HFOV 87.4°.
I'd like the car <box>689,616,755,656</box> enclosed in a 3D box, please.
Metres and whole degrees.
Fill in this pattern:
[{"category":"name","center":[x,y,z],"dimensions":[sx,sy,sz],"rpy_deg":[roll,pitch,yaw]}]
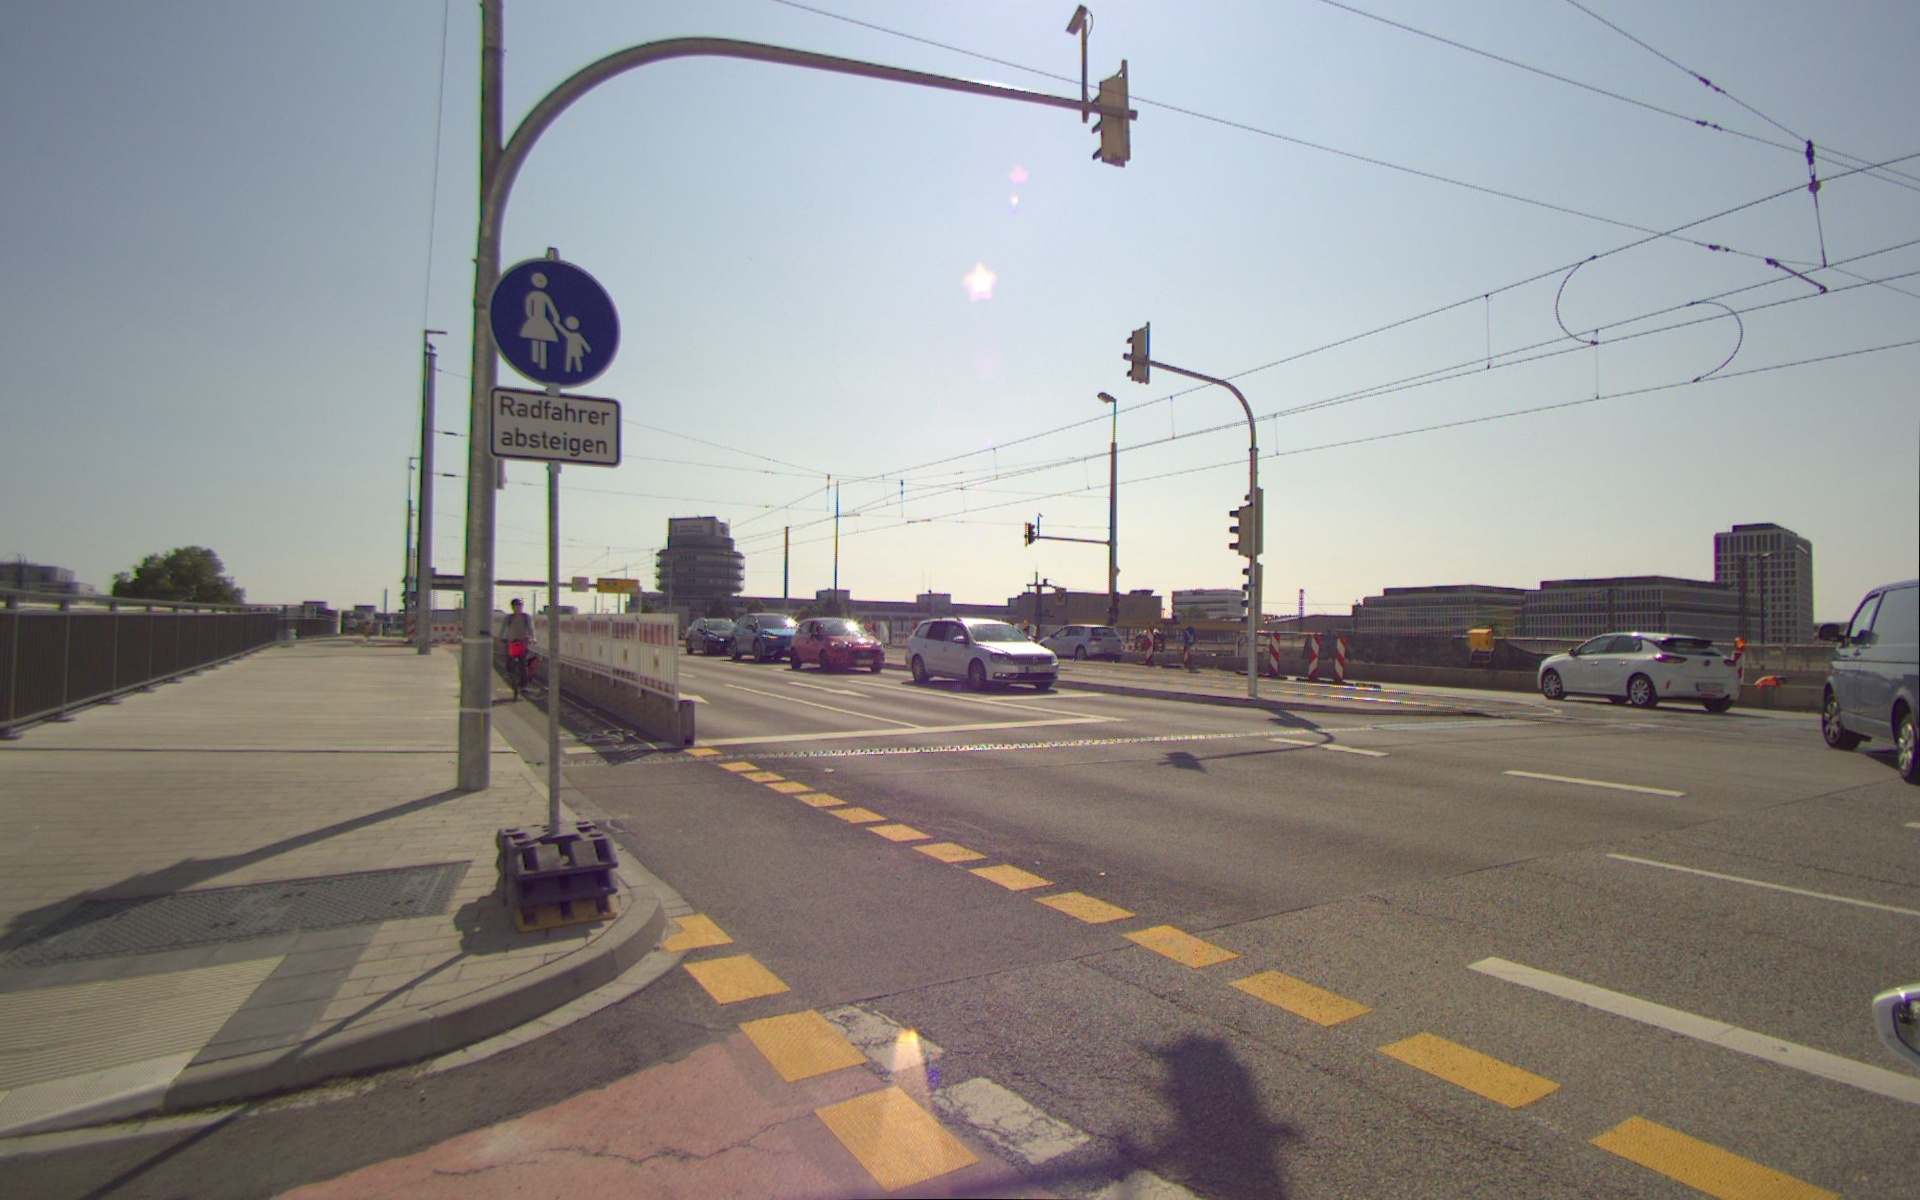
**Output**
[{"category":"car","center":[-9.497,1.395,39.925],"dimensions":[1.492,1.520,4.145],"rpy_deg":[0,-1,-29]}]

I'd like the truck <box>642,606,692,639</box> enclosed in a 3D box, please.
[{"category":"truck","center":[-30.057,2.246,102.637],"dimensions":[2.438,3.176,11.130],"rpy_deg":[2,-2,-29]}]

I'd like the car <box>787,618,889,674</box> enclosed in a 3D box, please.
[{"category":"car","center":[-3.523,1.244,28.422],"dimensions":[1.520,1.456,3.949],"rpy_deg":[1,-1,-29]}]

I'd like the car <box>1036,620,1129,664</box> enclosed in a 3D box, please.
[{"category":"car","center":[4.693,1.597,38.784],"dimensions":[1.703,1.552,3.669],"rpy_deg":[3,-2,-29]}]

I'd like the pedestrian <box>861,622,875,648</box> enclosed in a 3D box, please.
[{"category":"pedestrian","center":[-6.854,2.613,75.114],"dimensions":[0.775,1.960,0.793],"rpy_deg":[0,-2,-29]}]

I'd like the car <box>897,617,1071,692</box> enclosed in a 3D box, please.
[{"category":"car","center":[0.392,1.113,21.868],"dimensions":[1.624,1.456,4.606],"rpy_deg":[1,-1,-30]}]

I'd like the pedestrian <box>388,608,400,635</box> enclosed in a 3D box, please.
[{"category":"pedestrian","center":[-40.015,1.515,71.024],"dimensions":[0.628,1.918,0.746],"rpy_deg":[3,-2,-29]}]

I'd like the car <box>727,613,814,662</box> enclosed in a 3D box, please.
[{"category":"car","center":[-6.617,1.244,34.701],"dimensions":[1.654,1.570,4.522],"rpy_deg":[1,-1,-28]}]

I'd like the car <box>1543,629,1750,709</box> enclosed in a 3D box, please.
[{"category":"car","center":[13.548,1.321,20.074],"dimensions":[1.690,1.423,3.411],"rpy_deg":[2,-2,-3]}]

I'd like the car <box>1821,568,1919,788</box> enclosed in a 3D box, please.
[{"category":"car","center":[10.170,0.710,9.979],"dimensions":[1.790,1.931,4.045],"rpy_deg":[0,-1,31]}]

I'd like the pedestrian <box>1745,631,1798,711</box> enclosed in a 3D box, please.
[{"category":"pedestrian","center":[18.969,1.634,23.499],"dimensions":[0.849,1.819,0.820],"rpy_deg":[-1,-1,32]}]

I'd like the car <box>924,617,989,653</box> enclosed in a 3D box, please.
[{"category":"car","center":[-0.257,2.116,60.533],"dimensions":[1.861,2.059,4.857],"rpy_deg":[3,-3,-28]}]
